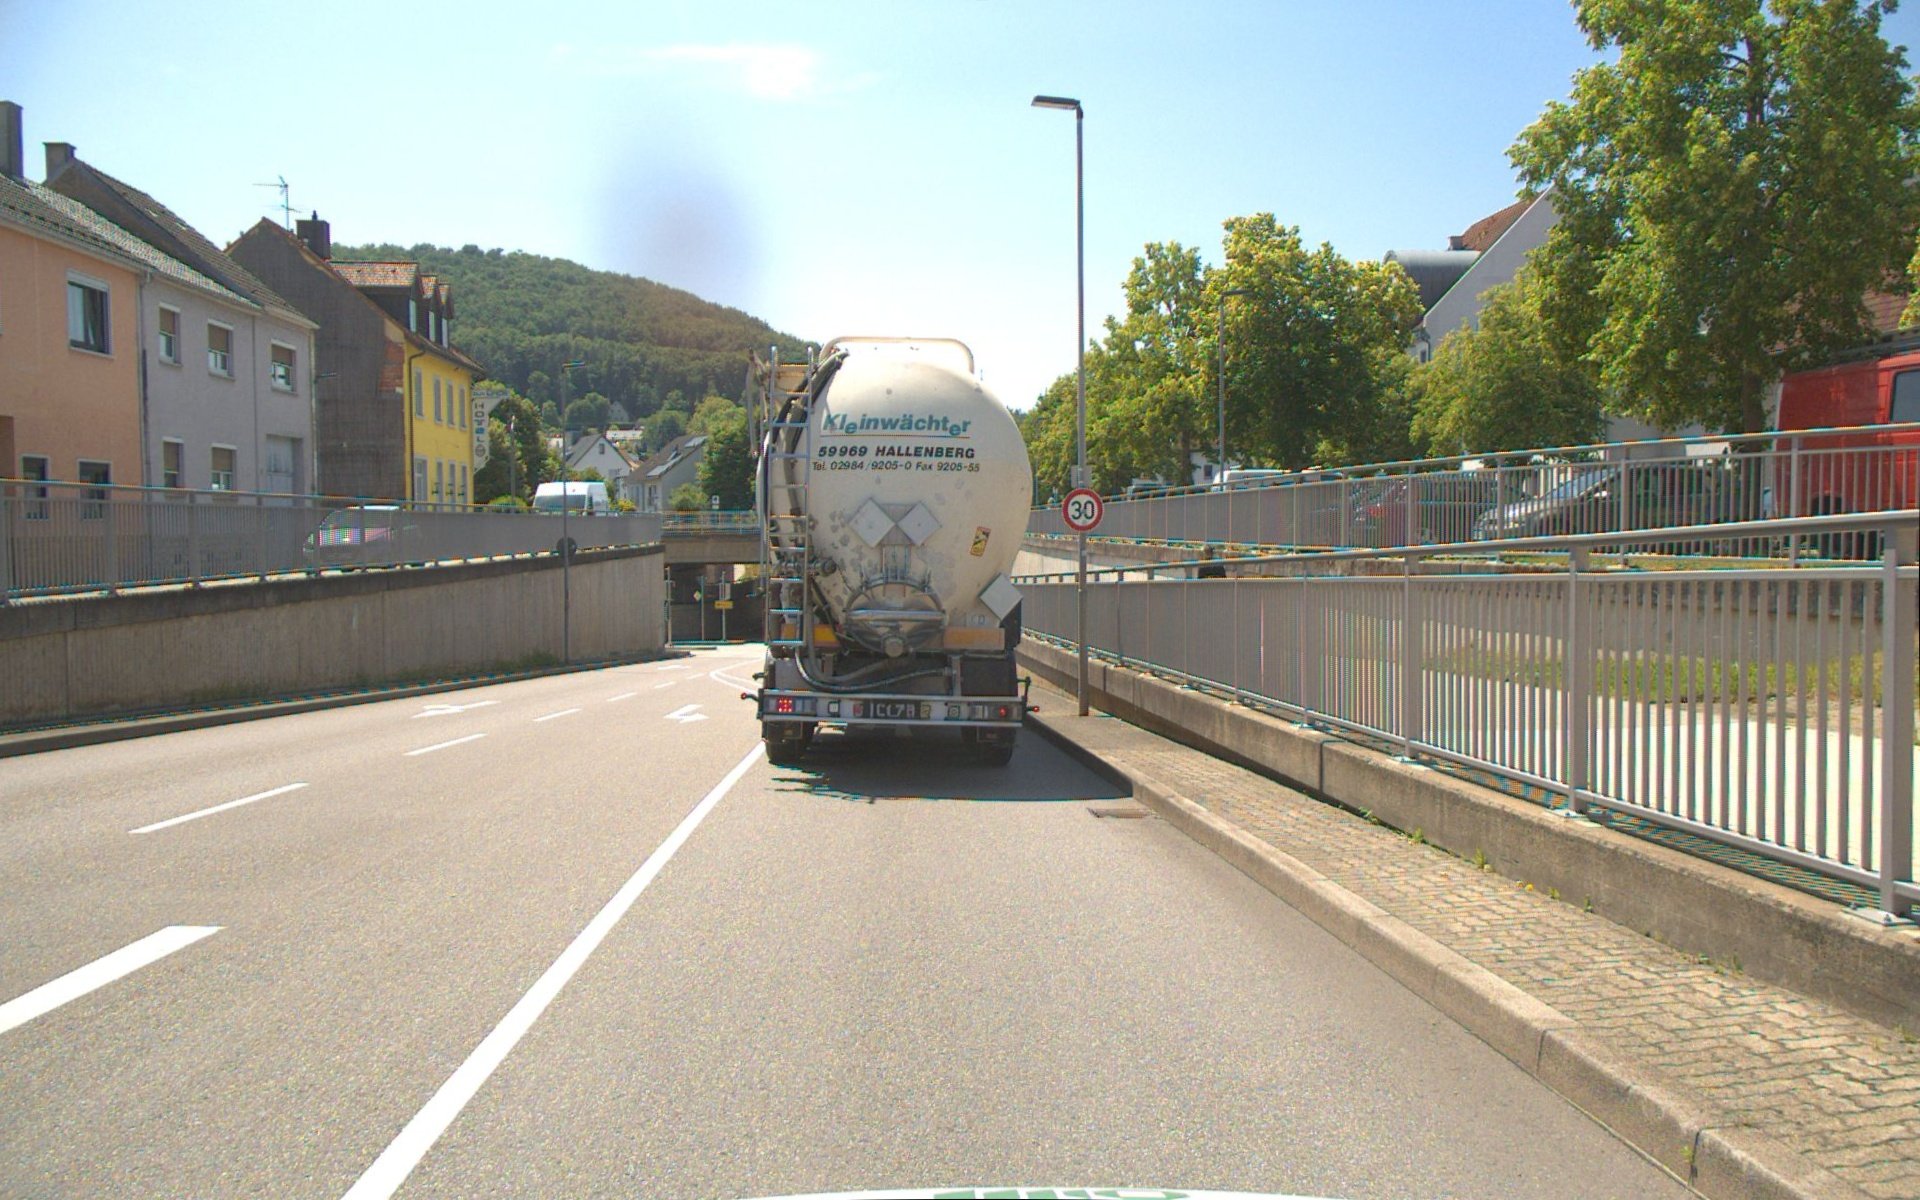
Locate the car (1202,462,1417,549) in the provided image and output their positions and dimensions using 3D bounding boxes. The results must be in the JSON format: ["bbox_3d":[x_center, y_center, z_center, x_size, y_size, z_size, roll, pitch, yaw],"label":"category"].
[{"bbox_3d":[8.762,-2.376,41.726,5.009,2.099,1.988,-1,2,-2],"label":"car"}]

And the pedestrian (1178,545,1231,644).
[{"bbox_3d":[4.560,-0.098,30.853,0.819,1.813,0.788,-1,0,-3],"label":"pedestrian"}]

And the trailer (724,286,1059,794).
[{"bbox_3d":[-0.794,-0.398,20.310,2.680,4.136,13.306,1,-1,-2],"label":"trailer"}]

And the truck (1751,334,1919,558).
[{"bbox_3d":[11.156,-1.664,18.250,2.090,2.375,5.257,0,2,-4],"label":"truck"}]

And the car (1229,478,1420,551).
[{"bbox_3d":[8.531,-2.001,38.913,4.120,1.623,1.686,-1,2,-2],"label":"car"}]

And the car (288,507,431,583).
[{"bbox_3d":[-12.799,-1.211,35.509,1.777,1.487,4.307,1,3,-4],"label":"car"}]

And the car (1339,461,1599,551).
[{"bbox_3d":[9.026,-1.669,29.529,4.120,1.524,1.686,-1,2,-2],"label":"car"}]

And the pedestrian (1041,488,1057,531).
[{"bbox_3d":[3.844,-3.912,71.481,0.659,1.810,0.594,-1,2,-1],"label":"pedestrian"}]

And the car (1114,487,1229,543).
[{"bbox_3d":[7.455,-3.006,58.575,3.827,1.918,1.686,-1,2,-2],"label":"car"}]

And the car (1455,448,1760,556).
[{"bbox_3d":[9.663,-1.460,24.866,3.906,1.524,1.748,-1,2,-2],"label":"car"}]

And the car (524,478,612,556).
[{"bbox_3d":[-13.718,-2.904,58.236,2.024,2.580,5.659,1,2,-4],"label":"car"}]
